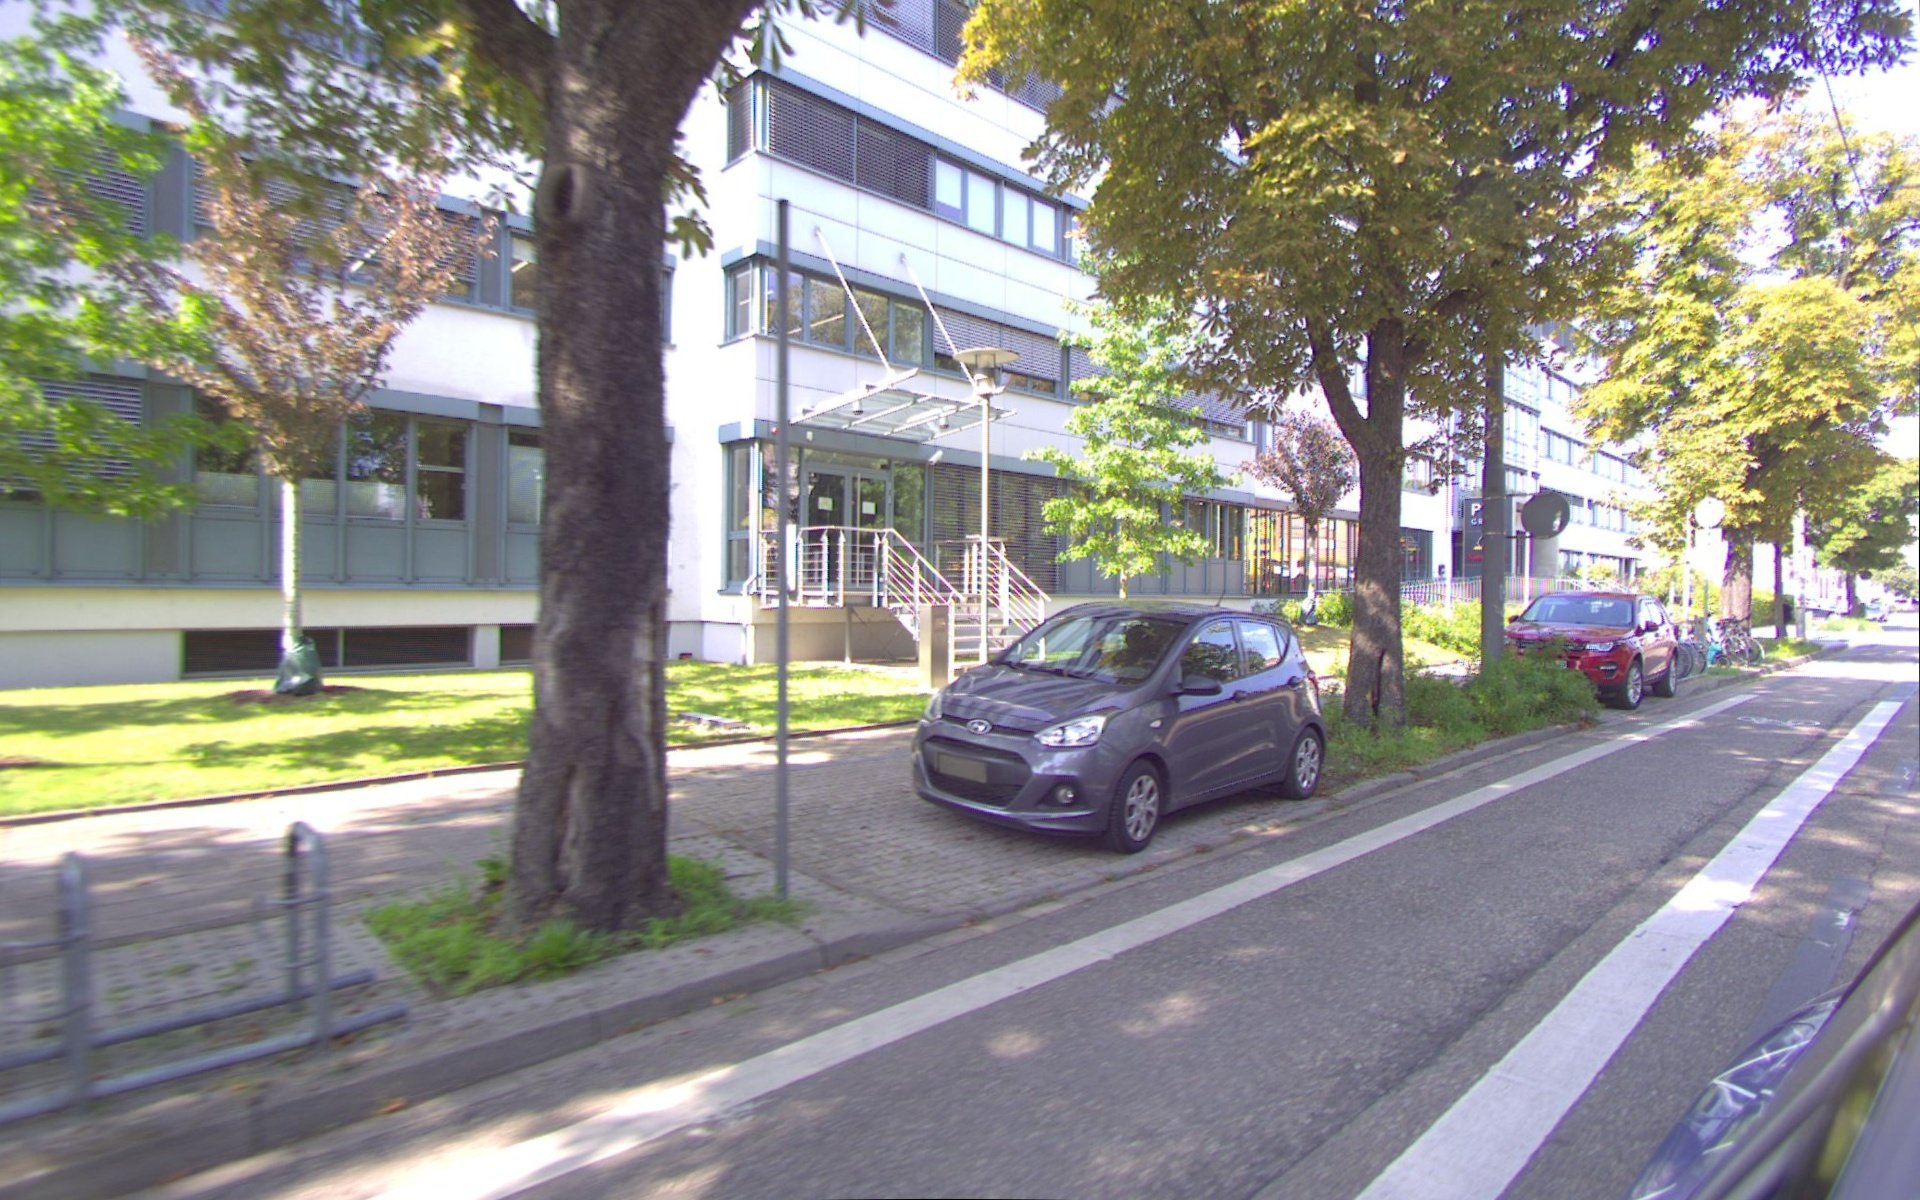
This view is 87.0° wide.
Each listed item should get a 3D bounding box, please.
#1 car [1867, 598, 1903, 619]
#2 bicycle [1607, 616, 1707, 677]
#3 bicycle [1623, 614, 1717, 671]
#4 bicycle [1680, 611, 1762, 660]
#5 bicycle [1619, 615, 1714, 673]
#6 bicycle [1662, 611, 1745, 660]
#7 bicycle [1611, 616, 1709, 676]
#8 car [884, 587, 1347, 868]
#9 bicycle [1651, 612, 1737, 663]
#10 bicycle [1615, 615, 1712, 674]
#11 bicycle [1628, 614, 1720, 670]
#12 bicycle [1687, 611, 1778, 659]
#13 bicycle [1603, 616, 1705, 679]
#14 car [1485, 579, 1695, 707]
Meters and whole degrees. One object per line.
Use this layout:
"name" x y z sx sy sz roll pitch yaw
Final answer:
"car" 76.094 0.657 83.227 3.930 1.627 1.754 -1 1 -41
"bicycle" 12.702 0.837 18.465 1.456 1.027 0.376 1 1 44
"bicycle" 13.846 0.820 19.749 1.456 1.027 0.376 1 1 44
"bicycle" 17.210 0.783 22.908 1.456 1.027 0.376 1 1 44
"bicycle" 13.545 0.824 19.422 1.456 1.027 0.376 1 1 44
"bicycle" 16.703 0.784 22.763 1.456 1.027 0.376 1 1 44
"bicycle" 12.970 0.833 18.774 1.456 1.027 0.376 1 1 44
"car" 1.288 0.674 7.342 1.563 1.459 3.508 5 4 43
"bicycle" 15.846 0.797 21.859 1.456 1.027 0.376 1 1 44
"bicycle" 13.251 0.828 19.088 1.456 1.027 0.376 1 1 44
"bicycle" 14.125 0.816 20.042 1.456 1.027 0.376 1 1 44
"bicycle" 17.642 0.780 23.133 1.617 1.027 0.376 1 1 44
"bicycle" 12.426 0.830 18.149 1.456 1.027 0.376 1 1 44
"car" 9.861 0.544 15.704 1.863 1.673 4.116 3 3 45
